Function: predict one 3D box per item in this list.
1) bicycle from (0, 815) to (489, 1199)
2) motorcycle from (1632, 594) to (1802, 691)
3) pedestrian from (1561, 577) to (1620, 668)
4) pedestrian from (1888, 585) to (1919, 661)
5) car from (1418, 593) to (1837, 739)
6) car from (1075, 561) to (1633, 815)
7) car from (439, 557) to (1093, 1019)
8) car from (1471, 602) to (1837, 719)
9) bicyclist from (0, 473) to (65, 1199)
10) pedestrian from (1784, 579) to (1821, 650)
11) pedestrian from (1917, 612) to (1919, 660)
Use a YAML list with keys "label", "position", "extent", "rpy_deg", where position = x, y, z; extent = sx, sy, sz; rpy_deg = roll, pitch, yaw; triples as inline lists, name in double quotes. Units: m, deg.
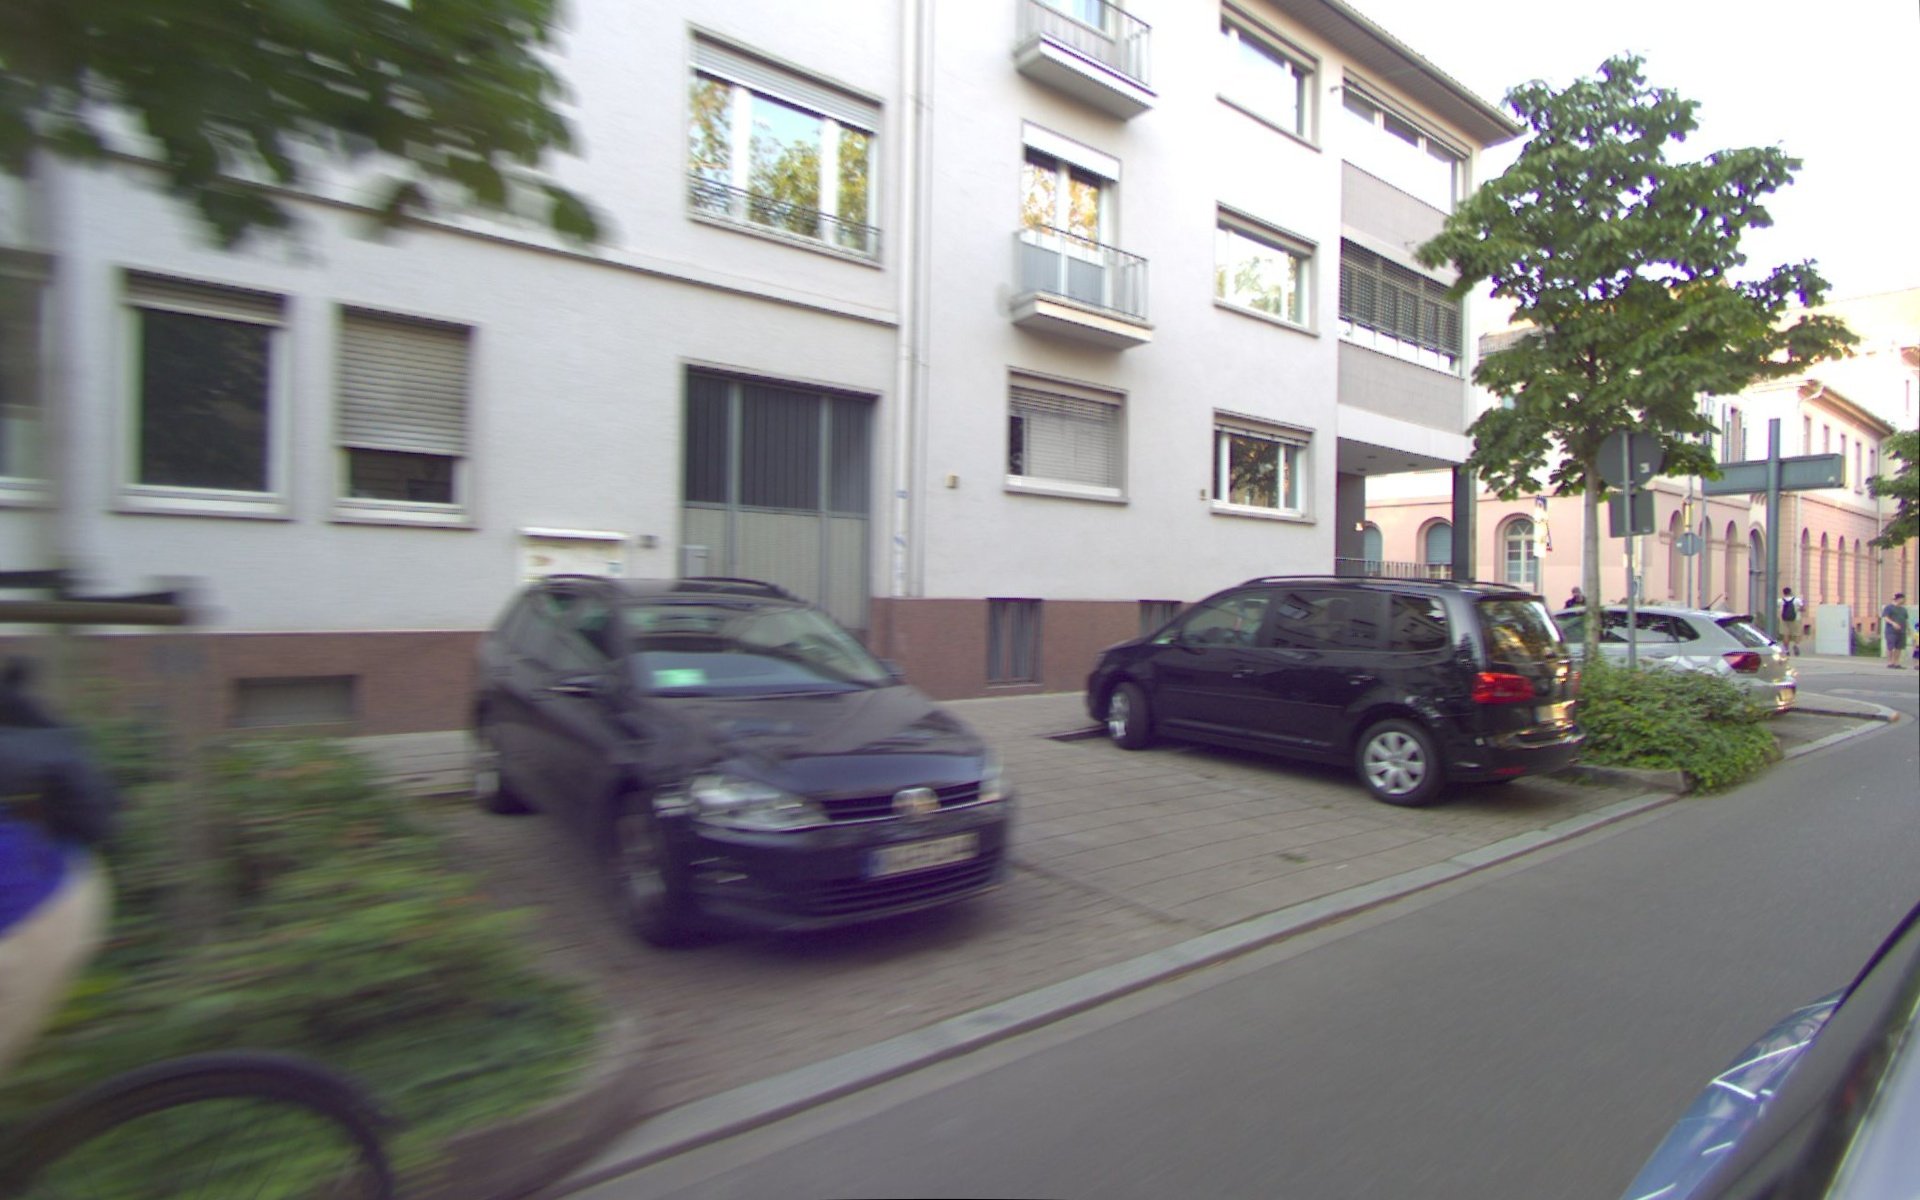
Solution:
- label: "bicycle"
  position: [-1.739, 0.975, 1.316]
  extent: [1.941, 1.043, 0.673]
  rpy_deg: [1, -1, -38]
- label: "motorcycle"
  position: [12.037, 0.636, 16.169]
  extent: [0.979, 1.409, 1.917]
  rpy_deg: [1, 1, -25]
- label: "pedestrian"
  position: [12.988, 0.457, 20.847]
  extent: [1.046, 1.818, 0.699]
  rpy_deg: [1, 0, -37]
- label: "pedestrian"
  position: [22.873, 0.546, 24.411]
  extent: [0.565, 1.796, 0.545]
  rpy_deg: [1, 2, -36]
- label: "car"
  position: [8.092, 0.678, 12.606]
  extent: [1.761, 1.455, 3.998]
  rpy_deg: [1, 1, -37]
- label: "car"
  position: [3.123, 0.535, 8.774]
  extent: [1.924, 1.638, 4.121]
  rpy_deg: [1, 1, -37]
- label: "car"
  position: [-1.450, 0.558, 5.629]
  extent: [1.761, 1.514, 4.326]
  rpy_deg: [0, 2, -38]
- label: "car"
  position: [9.836, 0.756, 14.645]
  extent: [1.760, 1.349, 4.001]
  rpy_deg: [1, 1, -34]
- label: "bicyclist"
  position: [-1.736, 0.527, 1.336]
  extent: [0.762, 1.381, 0.674]
  rpy_deg: [1, -2, -38]
- label: "pedestrian"
  position: [22.881, 0.387, 27.485]
  extent: [0.696, 1.878, 1.034]
  rpy_deg: [3, 1, 40]
- label: "pedestrian"
  position: [23.493, 0.894, 24.274]
  extent: [0.535, 1.159, 0.493]
  rpy_deg: [2, 2, -1]
